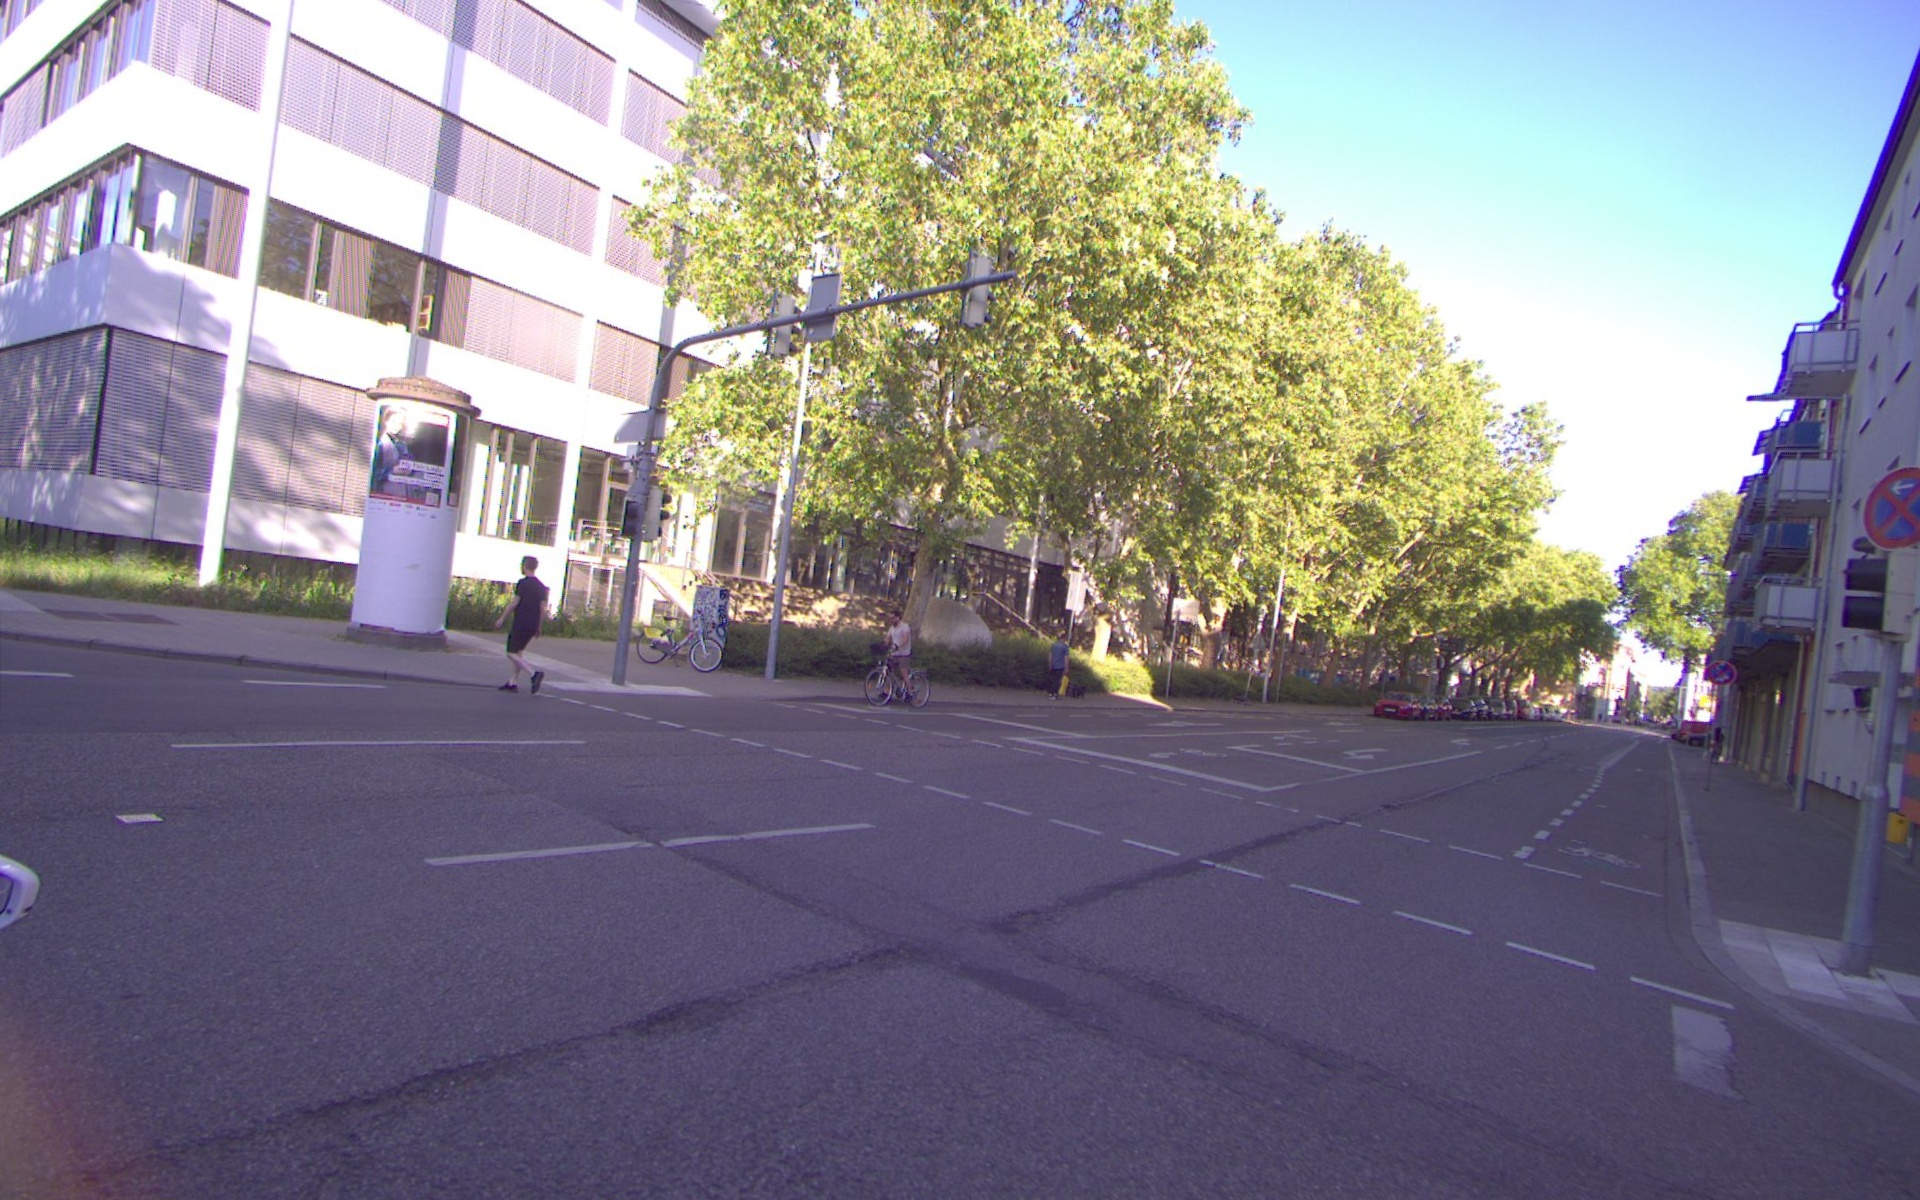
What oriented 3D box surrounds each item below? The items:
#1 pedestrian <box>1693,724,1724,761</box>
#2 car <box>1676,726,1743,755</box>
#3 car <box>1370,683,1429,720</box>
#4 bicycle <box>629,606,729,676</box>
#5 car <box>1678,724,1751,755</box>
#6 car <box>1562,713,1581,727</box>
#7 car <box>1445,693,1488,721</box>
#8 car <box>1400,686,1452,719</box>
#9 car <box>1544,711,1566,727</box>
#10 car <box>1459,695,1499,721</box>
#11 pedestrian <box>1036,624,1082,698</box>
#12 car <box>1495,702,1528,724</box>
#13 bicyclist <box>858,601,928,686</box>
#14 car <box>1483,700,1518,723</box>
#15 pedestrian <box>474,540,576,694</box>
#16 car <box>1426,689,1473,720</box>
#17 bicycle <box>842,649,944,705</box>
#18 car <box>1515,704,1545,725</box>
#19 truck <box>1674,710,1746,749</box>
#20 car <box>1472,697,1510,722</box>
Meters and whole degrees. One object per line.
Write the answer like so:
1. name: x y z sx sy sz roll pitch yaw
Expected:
1. pedestrian: 32.163 6.108 43.241 0.934 1.410 0.952 7 -1 36
2. car: 57.588 10.809 77.335 3.938 1.566 1.799 6 -3 36
3. car: 22.674 5.240 51.796 1.862 1.563 3.990 6 -2 36
4. bicycle: -5.383 0.778 19.287 1.656 1.062 0.508 9 2 7
5. car: 53.583 9.896 71.552 3.938 1.566 1.799 6 -3 36
6. car: 82.961 16.338 136.455 1.862 1.563 3.990 6 -2 36
7. car: 34.162 7.230 67.800 1.862 1.563 3.990 6 -2 36
8. car: 26.788 5.902 57.717 1.862 1.563 3.990 6 -2 36
9. car: 72.907 14.608 123.327 1.862 1.563 3.990 6 -2 36
10. car: 37.053 7.720 71.804 1.862 1.563 3.990 6 -2 36
11. pedestrian: 2.676 1.643 27.164 0.697 1.860 0.837 8 -2 30
12. car: 47.230 9.674 86.122 1.862 1.563 3.990 6 -2 36
13. bicyclist: -1.284 0.843 19.322 0.737 1.506 0.952 7 0 35
14. car: 44.067 9.099 81.951 1.862 1.563 3.990 6 -2 36
15. pedestrian: -5.686 0.219 13.162 0.826 1.860 0.706 7 -2 42
16. car: 30.319 6.500 62.226 1.862 1.563 3.990 6 -2 36
17. bicycle: -1.264 1.512 19.483 0.720 0.938 2.113 7 -1 35
18. car: 53.453 10.749 94.306 1.862 1.563 3.990 6 -2 36
19. truck: 60.891 10.533 81.759 4.376 2.473 1.799 6 -3 36
20. car: 40.091 8.281 75.874 1.862 1.563 3.990 6 -2 36
